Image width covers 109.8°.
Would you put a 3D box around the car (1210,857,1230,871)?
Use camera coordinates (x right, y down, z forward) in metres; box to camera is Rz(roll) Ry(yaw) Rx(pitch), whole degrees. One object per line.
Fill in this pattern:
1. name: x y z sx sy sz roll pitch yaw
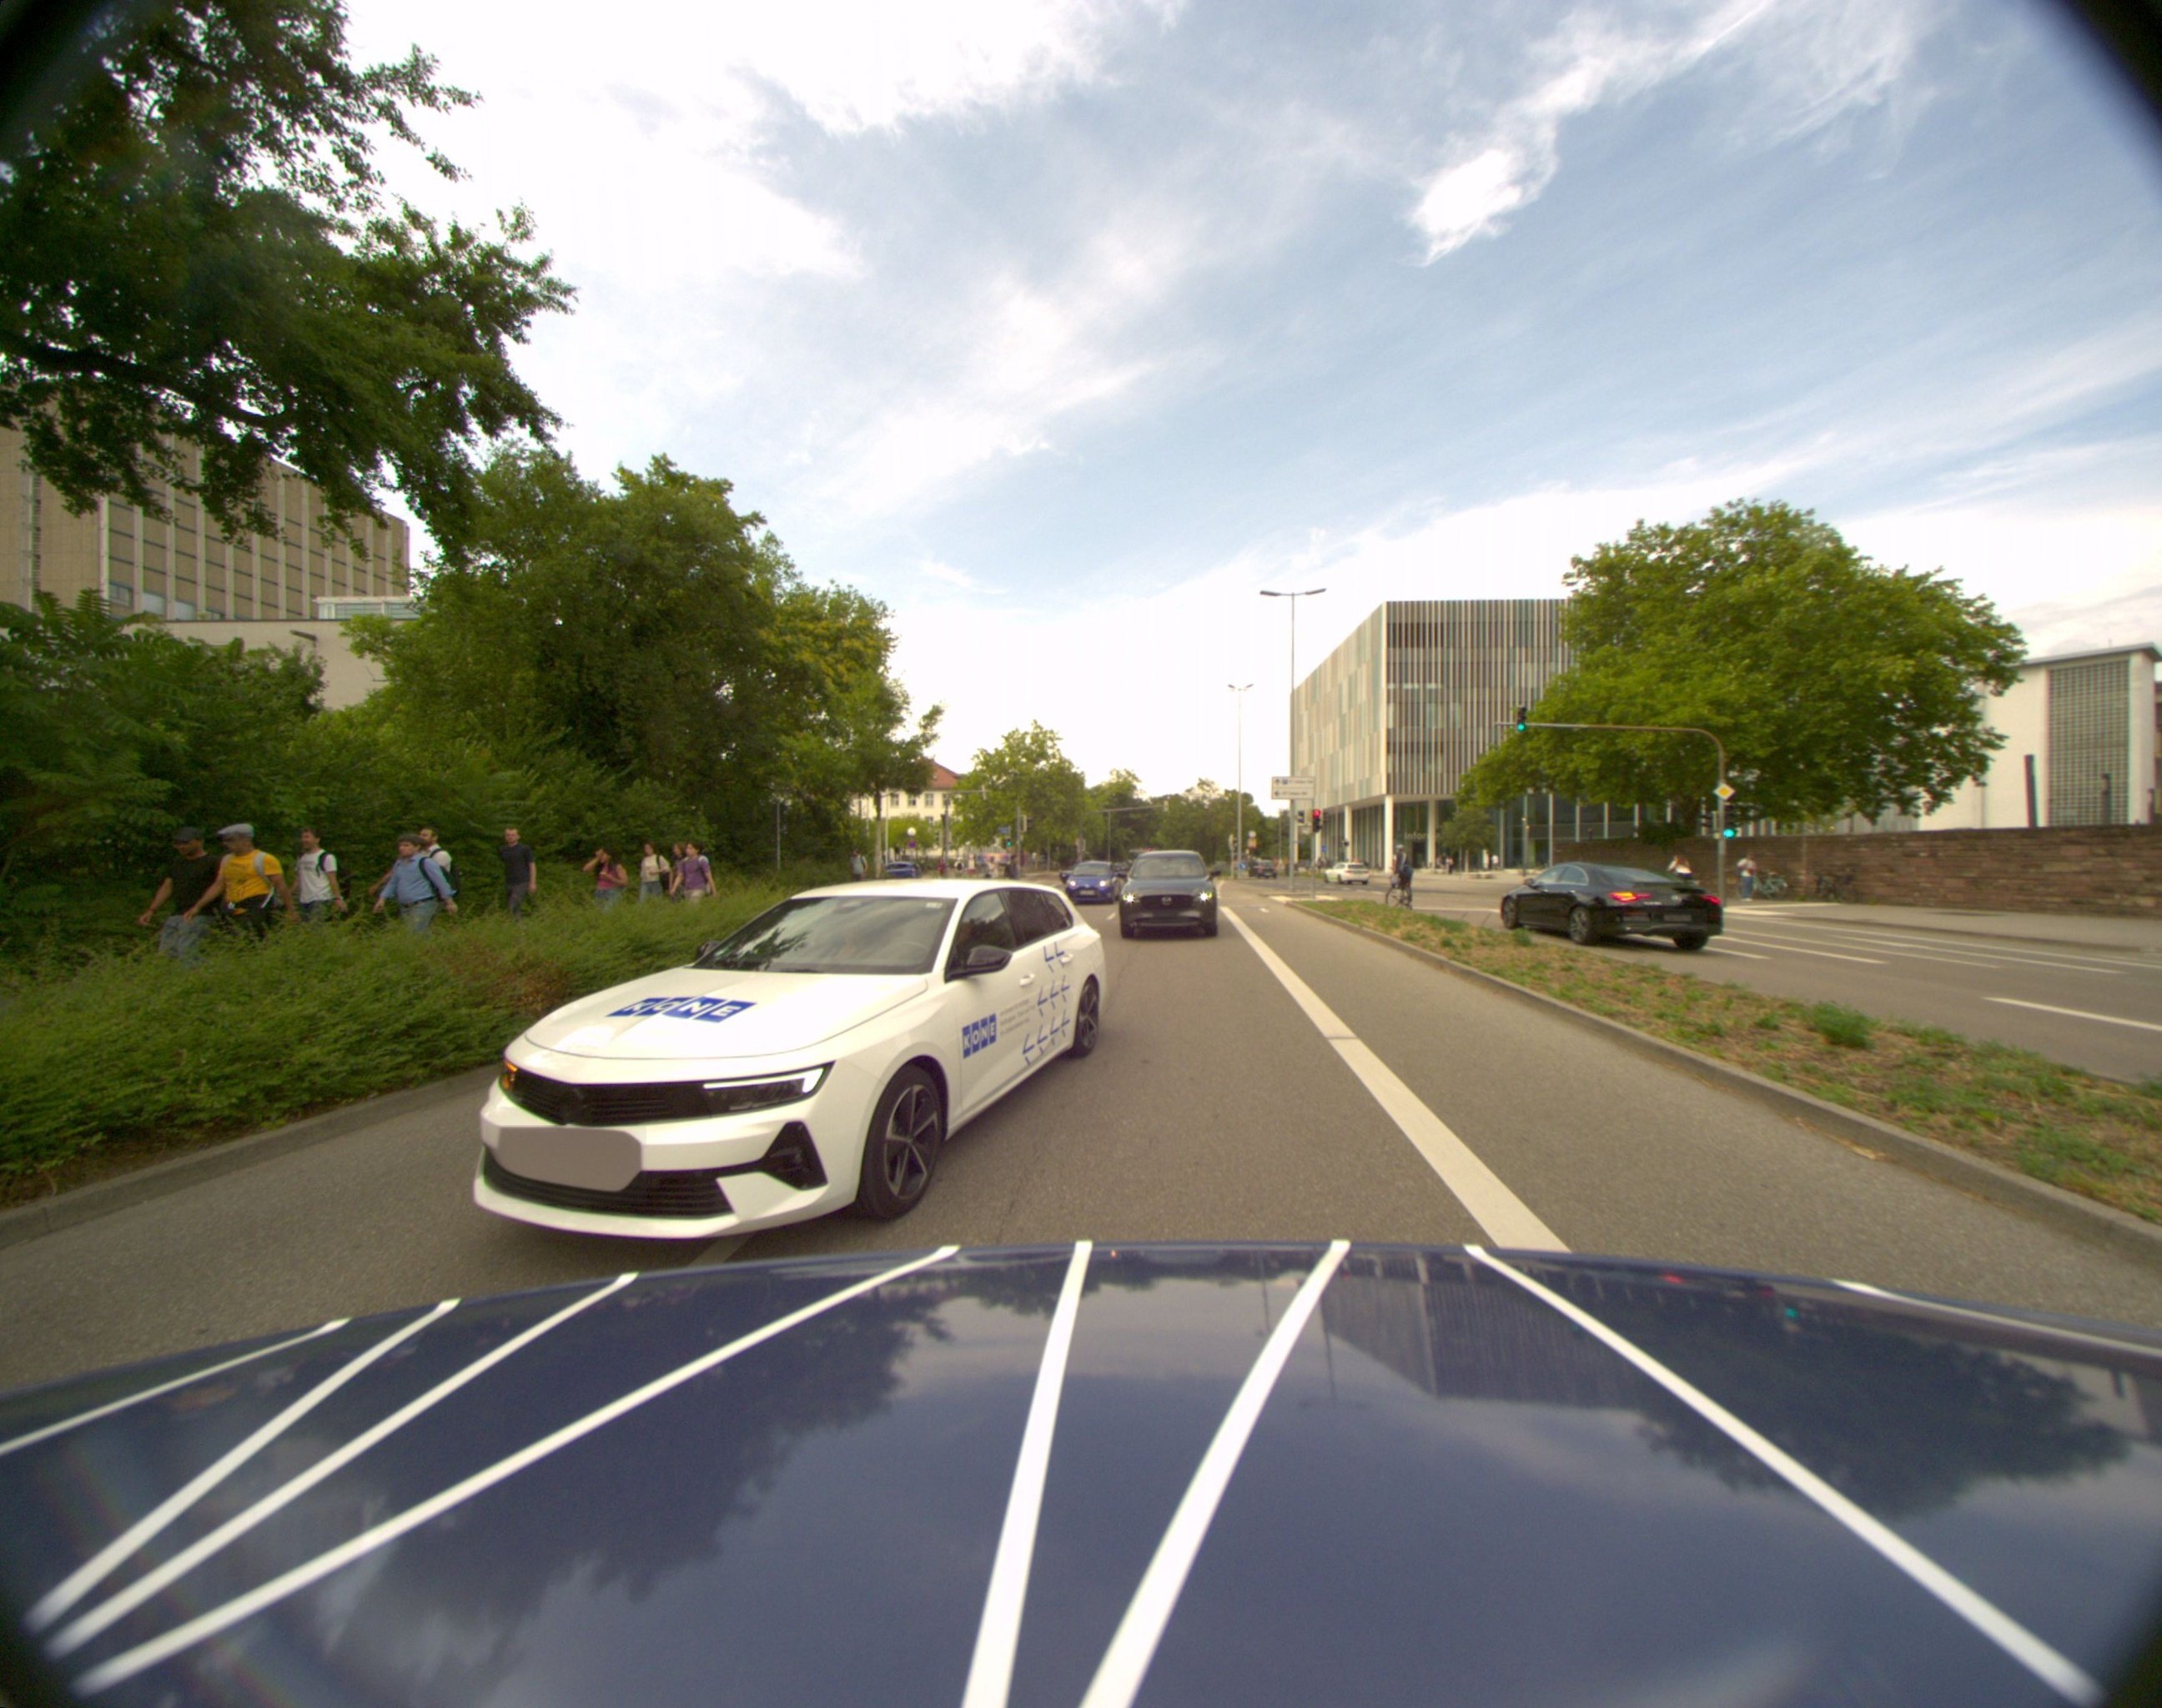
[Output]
1. car: 16.192 1.121 88.612 1.805 1.503 4.104 0 1 4

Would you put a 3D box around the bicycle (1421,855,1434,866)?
1. bicycle: 34.055 0.680 74.711 1.549 1.023 0.393 -2 0 -33

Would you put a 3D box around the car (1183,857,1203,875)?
1. car: 10.192 1.073 68.815 1.659 1.455 4.003 -2 0 9

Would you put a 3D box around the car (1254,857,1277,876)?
1. car: 15.390 1.008 63.457 1.574 1.480 3.639 1 0 9

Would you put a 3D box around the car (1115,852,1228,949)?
1. car: 1.779 0.833 15.609 1.904 1.639 4.647 -2 0 5

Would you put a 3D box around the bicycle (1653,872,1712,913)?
1. bicycle: 19.088 1.189 24.149 0.619 1.210 2.046 0 0 12

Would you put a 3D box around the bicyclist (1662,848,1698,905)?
1. bicyclist: 19.038 0.714 24.165 0.619 1.772 0.812 0 0 12

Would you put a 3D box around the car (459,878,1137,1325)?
1. car: -1.049 0.955 5.222 1.742 1.430 4.789 0 0 18

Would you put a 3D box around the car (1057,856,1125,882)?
1. car: 0.676 0.972 50.701 4.177 1.547 1.803 -2 0 -14

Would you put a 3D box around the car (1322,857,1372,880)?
1. car: 17.739 0.944 50.849 1.806 1.480 4.416 0 0 0

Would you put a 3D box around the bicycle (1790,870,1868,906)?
1. bicycle: 24.147 1.086 24.577 0.550 1.052 1.981 -3 0 0

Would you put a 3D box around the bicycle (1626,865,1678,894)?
1. bicycle: 24.016 1.042 31.992 0.579 1.119 2.165 -3 0 2

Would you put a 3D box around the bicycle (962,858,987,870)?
1. bicycle: -10.955 1.023 78.108 2.471 1.136 0.718 0 0 5

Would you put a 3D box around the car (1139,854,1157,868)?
1. car: 8.378 0.899 95.466 1.998 1.761 4.001 0 0 2

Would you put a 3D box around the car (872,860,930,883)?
1. car: -12.473 1.222 52.746 3.579 1.483 1.675 0 1 3

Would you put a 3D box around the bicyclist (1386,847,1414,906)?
1. bicyclist: 8.697 0.604 20.736 0.573 1.564 0.700 0 0 11

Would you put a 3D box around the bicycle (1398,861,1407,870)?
1. bicycle: 32.759 1.179 77.425 0.393 0.932 1.601 -2 0 37

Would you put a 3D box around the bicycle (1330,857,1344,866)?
1. bicycle: 32.368 0.962 95.941 1.581 1.017 0.389 -2 0 -1

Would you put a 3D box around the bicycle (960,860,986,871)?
1. bicycle: -10.938 1.184 76.685 2.471 1.136 0.718 0 0 5

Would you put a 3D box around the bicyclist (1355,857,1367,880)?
1. bicyclist: 21.313 1.106 57.854 0.601 1.796 0.561 0 1 -11

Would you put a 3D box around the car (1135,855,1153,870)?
1. car: 6.255 0.867 76.136 1.660 1.455 4.001 0 0 3

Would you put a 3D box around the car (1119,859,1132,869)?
1. car: 5.952 1.329 102.189 1.703 1.361 3.833 0 0 3

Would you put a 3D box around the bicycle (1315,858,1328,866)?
1. bicycle: 32.876 1.089 103.980 1.581 1.017 0.389 2 1 -1

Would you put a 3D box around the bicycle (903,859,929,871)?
1. bicycle: -17.244 1.146 79.422 2.471 1.136 0.718 0 0 5

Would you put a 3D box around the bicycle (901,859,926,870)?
1. bicycle: -17.319 1.115 78.593 2.471 1.136 0.718 0 0 5

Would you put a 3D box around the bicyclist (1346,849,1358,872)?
1. bicyclist: 21.171 0.529 59.392 0.601 1.796 0.561 -2 1 -10

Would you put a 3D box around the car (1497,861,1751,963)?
1. car: 9.266 0.877 13.499 1.805 1.480 4.408 0 0 7

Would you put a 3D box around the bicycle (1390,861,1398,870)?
1. bicycle: 32.216 1.186 78.172 0.393 0.932 1.601 -2 0 37

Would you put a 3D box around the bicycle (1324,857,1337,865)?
1. bicycle: 33.042 0.920 100.776 1.581 1.017 0.389 -2 0 -1

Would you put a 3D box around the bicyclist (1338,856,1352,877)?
1. bicyclist: 21.338 0.983 61.405 0.728 1.663 0.723 -2 1 -10

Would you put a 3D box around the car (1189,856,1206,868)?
1. car: 14.965 1.038 97.795 1.805 1.480 4.290 0 0 4

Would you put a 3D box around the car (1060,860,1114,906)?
1. car: 0.269 0.976 26.917 1.702 1.485 3.833 0 0 3
